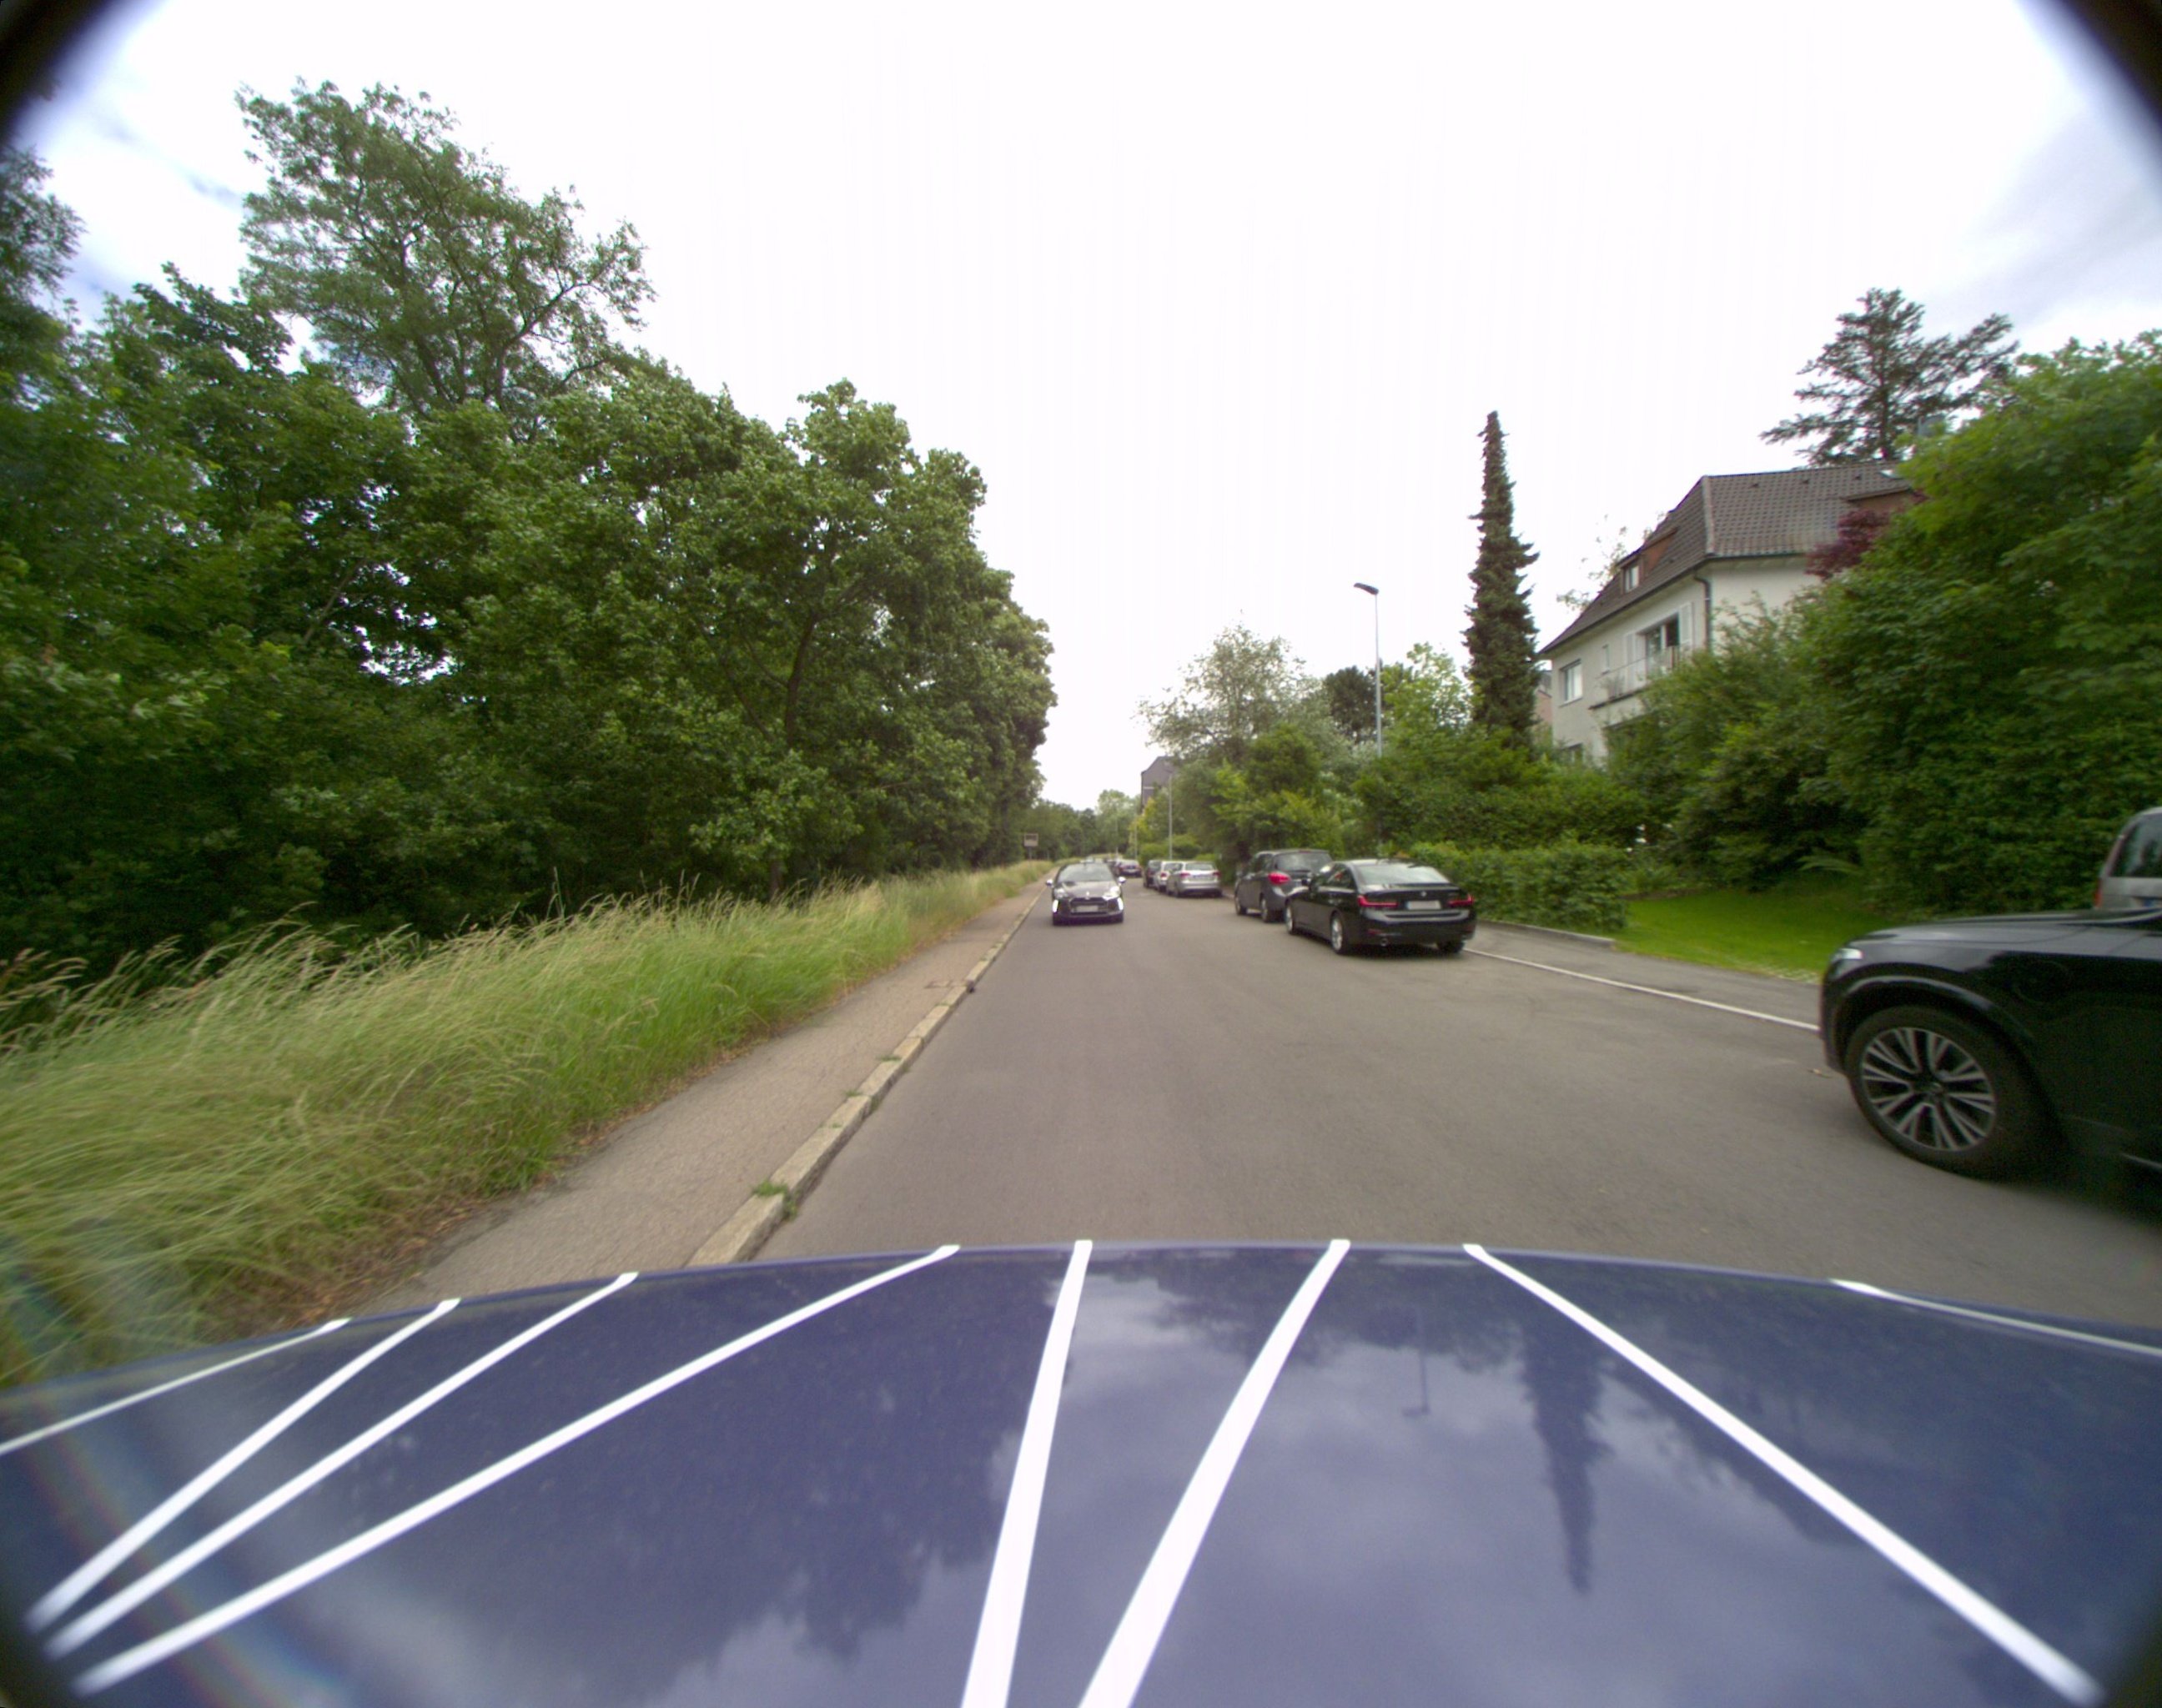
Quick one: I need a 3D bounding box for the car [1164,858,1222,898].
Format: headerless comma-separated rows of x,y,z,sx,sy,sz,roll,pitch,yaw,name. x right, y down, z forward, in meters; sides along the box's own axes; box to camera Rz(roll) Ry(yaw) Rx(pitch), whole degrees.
4.400,0.913,30.312,1.627,1.441,4.093,0,0,-1,car

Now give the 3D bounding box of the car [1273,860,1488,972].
4.637,0.849,12.639,1.758,1.404,4.899,-2,0,2,car

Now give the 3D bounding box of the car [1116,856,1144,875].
3.875,0.920,61.028,1.783,1.423,5.104,-1,0,-2,car

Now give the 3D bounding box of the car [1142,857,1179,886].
4.223,0.918,40.811,1.627,1.441,3.969,0,0,1,car

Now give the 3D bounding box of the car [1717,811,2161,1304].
4.723,0.677,1.914,1.979,1.726,5.190,-2,0,2,car

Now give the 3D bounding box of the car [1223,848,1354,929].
4.747,0.722,18.089,1.736,1.623,4.568,-2,0,-1,car

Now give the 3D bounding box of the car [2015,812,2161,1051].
9.140,0.457,4.821,3.698,1.628,1.830,-2,0,13,car

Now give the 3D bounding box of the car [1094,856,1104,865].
3.160,1.088,129.523,1.646,1.461,4.072,1,0,2,car

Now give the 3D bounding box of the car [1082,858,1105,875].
1.086,1.055,66.819,1.785,1.417,4.488,-1,0,-2,car

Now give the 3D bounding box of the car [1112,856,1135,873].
3.738,0.936,67.515,1.628,1.423,4.350,0,0,-2,car

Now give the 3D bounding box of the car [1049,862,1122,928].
0.200,0.968,19.324,1.619,1.460,4.001,-2,-1,3,car

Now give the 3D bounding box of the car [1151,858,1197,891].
4.349,0.930,36.093,1.664,1.444,4.381,-1,0,0,car
